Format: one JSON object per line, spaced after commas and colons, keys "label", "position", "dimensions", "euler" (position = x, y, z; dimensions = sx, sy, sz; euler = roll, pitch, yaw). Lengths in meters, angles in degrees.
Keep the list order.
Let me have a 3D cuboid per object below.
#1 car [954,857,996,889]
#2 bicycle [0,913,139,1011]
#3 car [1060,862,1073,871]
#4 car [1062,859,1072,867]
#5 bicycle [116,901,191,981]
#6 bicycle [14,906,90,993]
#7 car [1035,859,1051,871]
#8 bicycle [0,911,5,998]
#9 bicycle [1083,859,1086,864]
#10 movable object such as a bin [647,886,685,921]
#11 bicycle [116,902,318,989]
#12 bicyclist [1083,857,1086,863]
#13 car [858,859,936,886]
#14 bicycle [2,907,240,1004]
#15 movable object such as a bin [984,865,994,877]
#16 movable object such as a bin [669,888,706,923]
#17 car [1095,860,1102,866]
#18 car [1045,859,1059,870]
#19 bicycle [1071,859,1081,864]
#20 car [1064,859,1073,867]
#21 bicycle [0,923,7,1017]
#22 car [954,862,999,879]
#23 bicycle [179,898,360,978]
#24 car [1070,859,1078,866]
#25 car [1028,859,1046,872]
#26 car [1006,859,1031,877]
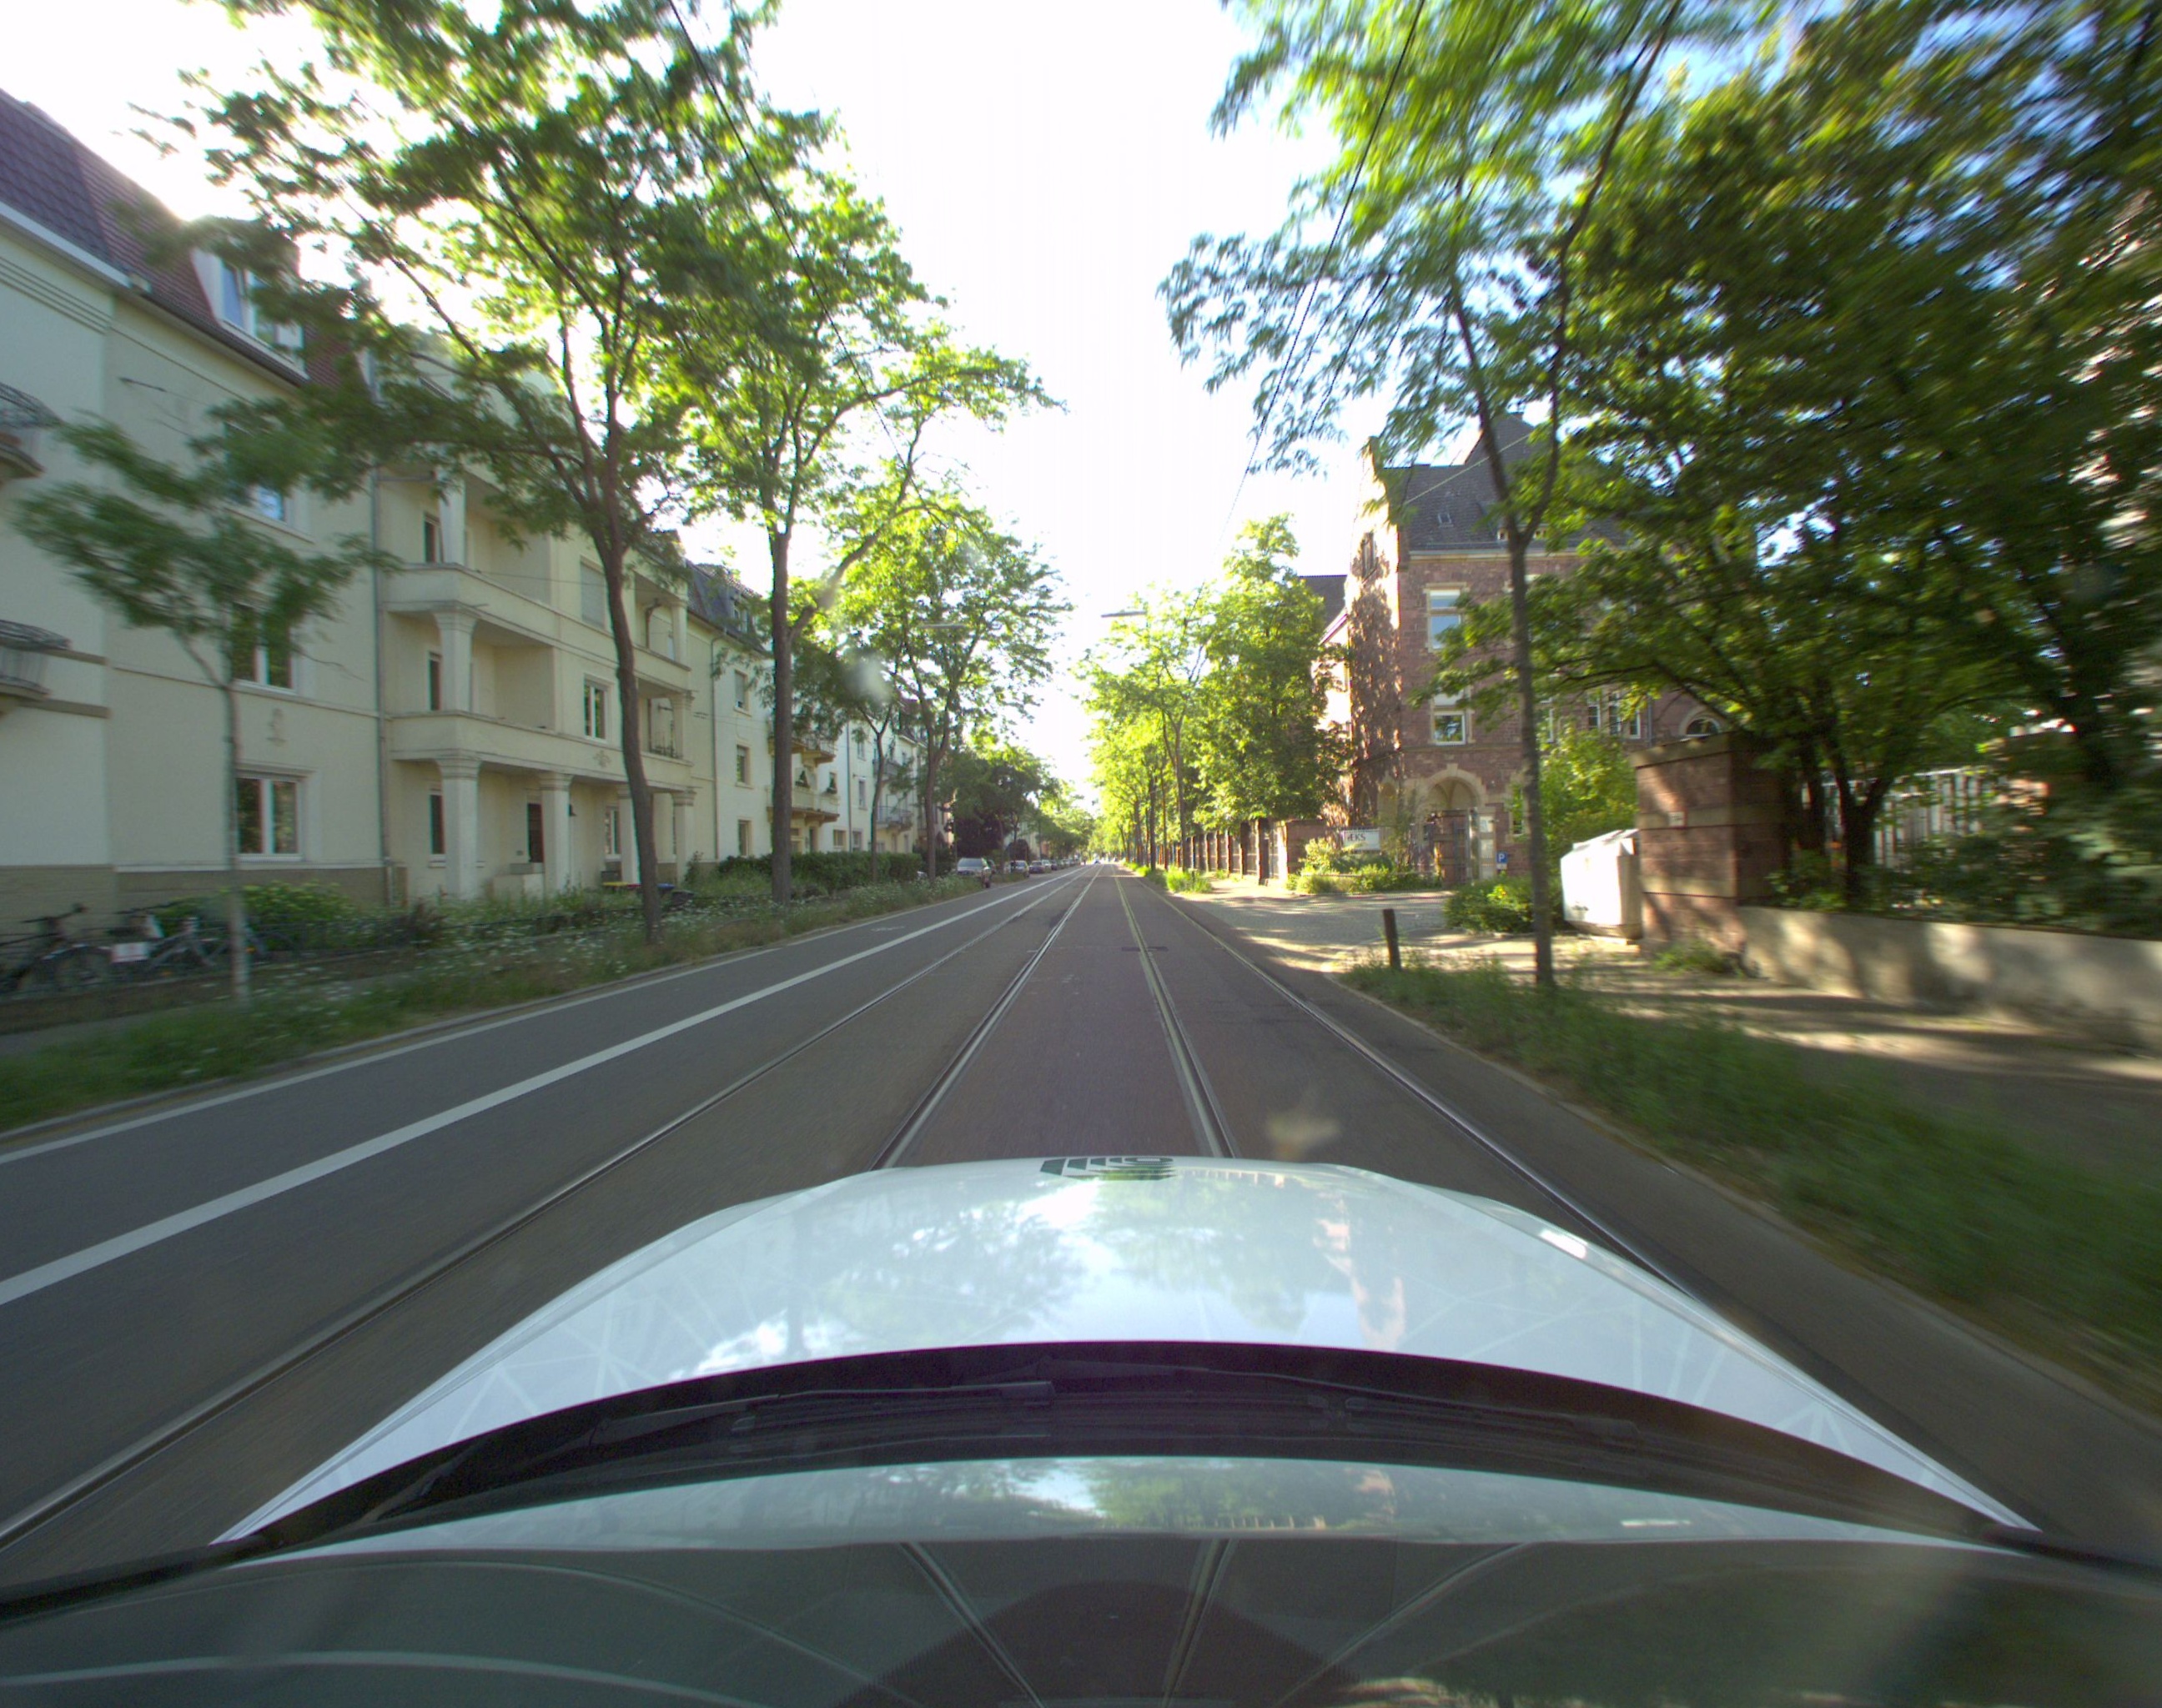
{"label": "car", "position": [-6.280, 1.077, 48.538], "dimensions": [1.864, 1.823, 4.771], "euler": [-1, 0, 0]}
{"label": "bicycle", "position": [-12.107, 1.234, 9.185], "dimensions": [1.872, 0.996, 0.551], "euler": [-1, -1, -42]}
{"label": "car", "position": [-2.267, 1.947, 128.255], "dimensions": [1.810, 1.485, 4.208], "euler": [0, 0, 2]}
{"label": "car", "position": [-2.667, 1.633, 154.257], "dimensions": [1.696, 1.485, 4.080], "euler": [1, 0, 2]}
{"label": "bicycle", "position": [-13.847, 1.260, 12.146], "dimensions": [1.838, 0.996, 0.562], "euler": [1, 1, 36]}
{"label": "bicycle", "position": [-14.180, 1.270, 11.209], "dimensions": [1.838, 0.996, 0.562], "euler": [1, 1, 36]}
{"label": "car", "position": [-4.875, 1.347, 104.968], "dimensions": [1.811, 1.511, 4.371], "euler": [0, 0, 1]}
{"label": "bicycle", "position": [-14.294, 1.278, 10.437], "dimensions": [1.838, 0.996, 0.562], "euler": [1, 1, 36]}
{"label": "bicycle", "position": [0.800, 1.995, 205.648], "dimensions": [0.624, 1.177, 1.914], "euler": [-4, -1, 2]}
{"label": "movable object such as a bin", "position": [-11.382, 1.349, 22.348], "dimensions": [0.625, 0.921, 0.740], "euler": [0, -1, 2]}
{"label": "bicycle", "position": [-11.918, 1.231, 11.328], "dimensions": [1.872, 0.996, 0.551], "euler": [-1, -1, -42]}
{"label": "bicyclist", "position": [0.765, 1.534, 205.582], "dimensions": [0.624, 1.639, 0.940], "euler": [-4, -1, 2]}
{"label": "car", "position": [-11.254, 1.119, 50.003], "dimensions": [4.282, 1.661, 1.954], "euler": [0, 0, 3]}
{"label": "bicycle", "position": [-12.015, 1.237, 10.293], "dimensions": [1.872, 0.996, 0.551], "euler": [-1, -1, -42]}
{"label": "movable object such as a bin", "position": [-8.815, 1.603, 78.066], "dimensions": [0.872, 1.066, 0.814], "euler": [-2, -1, 2]}
{"label": "movable object such as a bin", "position": [-10.691, 1.391, 22.137], "dimensions": [0.625, 0.921, 0.740], "euler": [0, -1, 2]}
{"label": "car", "position": [4.604, 2.374, 218.915], "dimensions": [1.752, 1.439, 4.524], "euler": [-1, 0, 1]}
{"label": "car", "position": [-4.117, 1.453, 115.085], "dimensions": [1.752, 1.511, 4.439], "euler": [0, 0, 1]}
{"label": "bicycle", "position": [-1.170, 1.805, 191.391], "dimensions": [2.271, 1.198, 0.561], "euler": [1, 0, 8]}
{"label": "car", "position": [-2.431, 1.802, 161.861], "dimensions": [1.681, 1.485, 3.760], "euler": [1, 0, 1]}
{"label": "bicycle", "position": [-12.177, 1.250, 8.005], "dimensions": [1.869, 0.996, 0.552], "euler": [-1, -1, -32]}
{"label": "car", "position": [-10.338, 1.622, 80.786], "dimensions": [4.152, 1.659, 1.983], "euler": [-1, 0, 0]}
{"label": "bicycle", "position": [-12.034, 1.219, 12.169], "dimensions": [1.872, 0.996, 0.551], "euler": [-1, -1, -42]}
{"label": "car", "position": [-1.485, 1.768, 172.006], "dimensions": [1.555, 1.457, 3.930], "euler": [1, 0, 0]}
{"label": "car", "position": [-5.030, 1.257, 93.082], "dimensions": [1.699, 1.406, 4.334], "euler": [0, 0, 1]}
{"label": "car", "position": [-5.671, 1.240, 74.211], "dimensions": [1.769, 1.541, 4.487], "euler": [0, 0, 2]}
